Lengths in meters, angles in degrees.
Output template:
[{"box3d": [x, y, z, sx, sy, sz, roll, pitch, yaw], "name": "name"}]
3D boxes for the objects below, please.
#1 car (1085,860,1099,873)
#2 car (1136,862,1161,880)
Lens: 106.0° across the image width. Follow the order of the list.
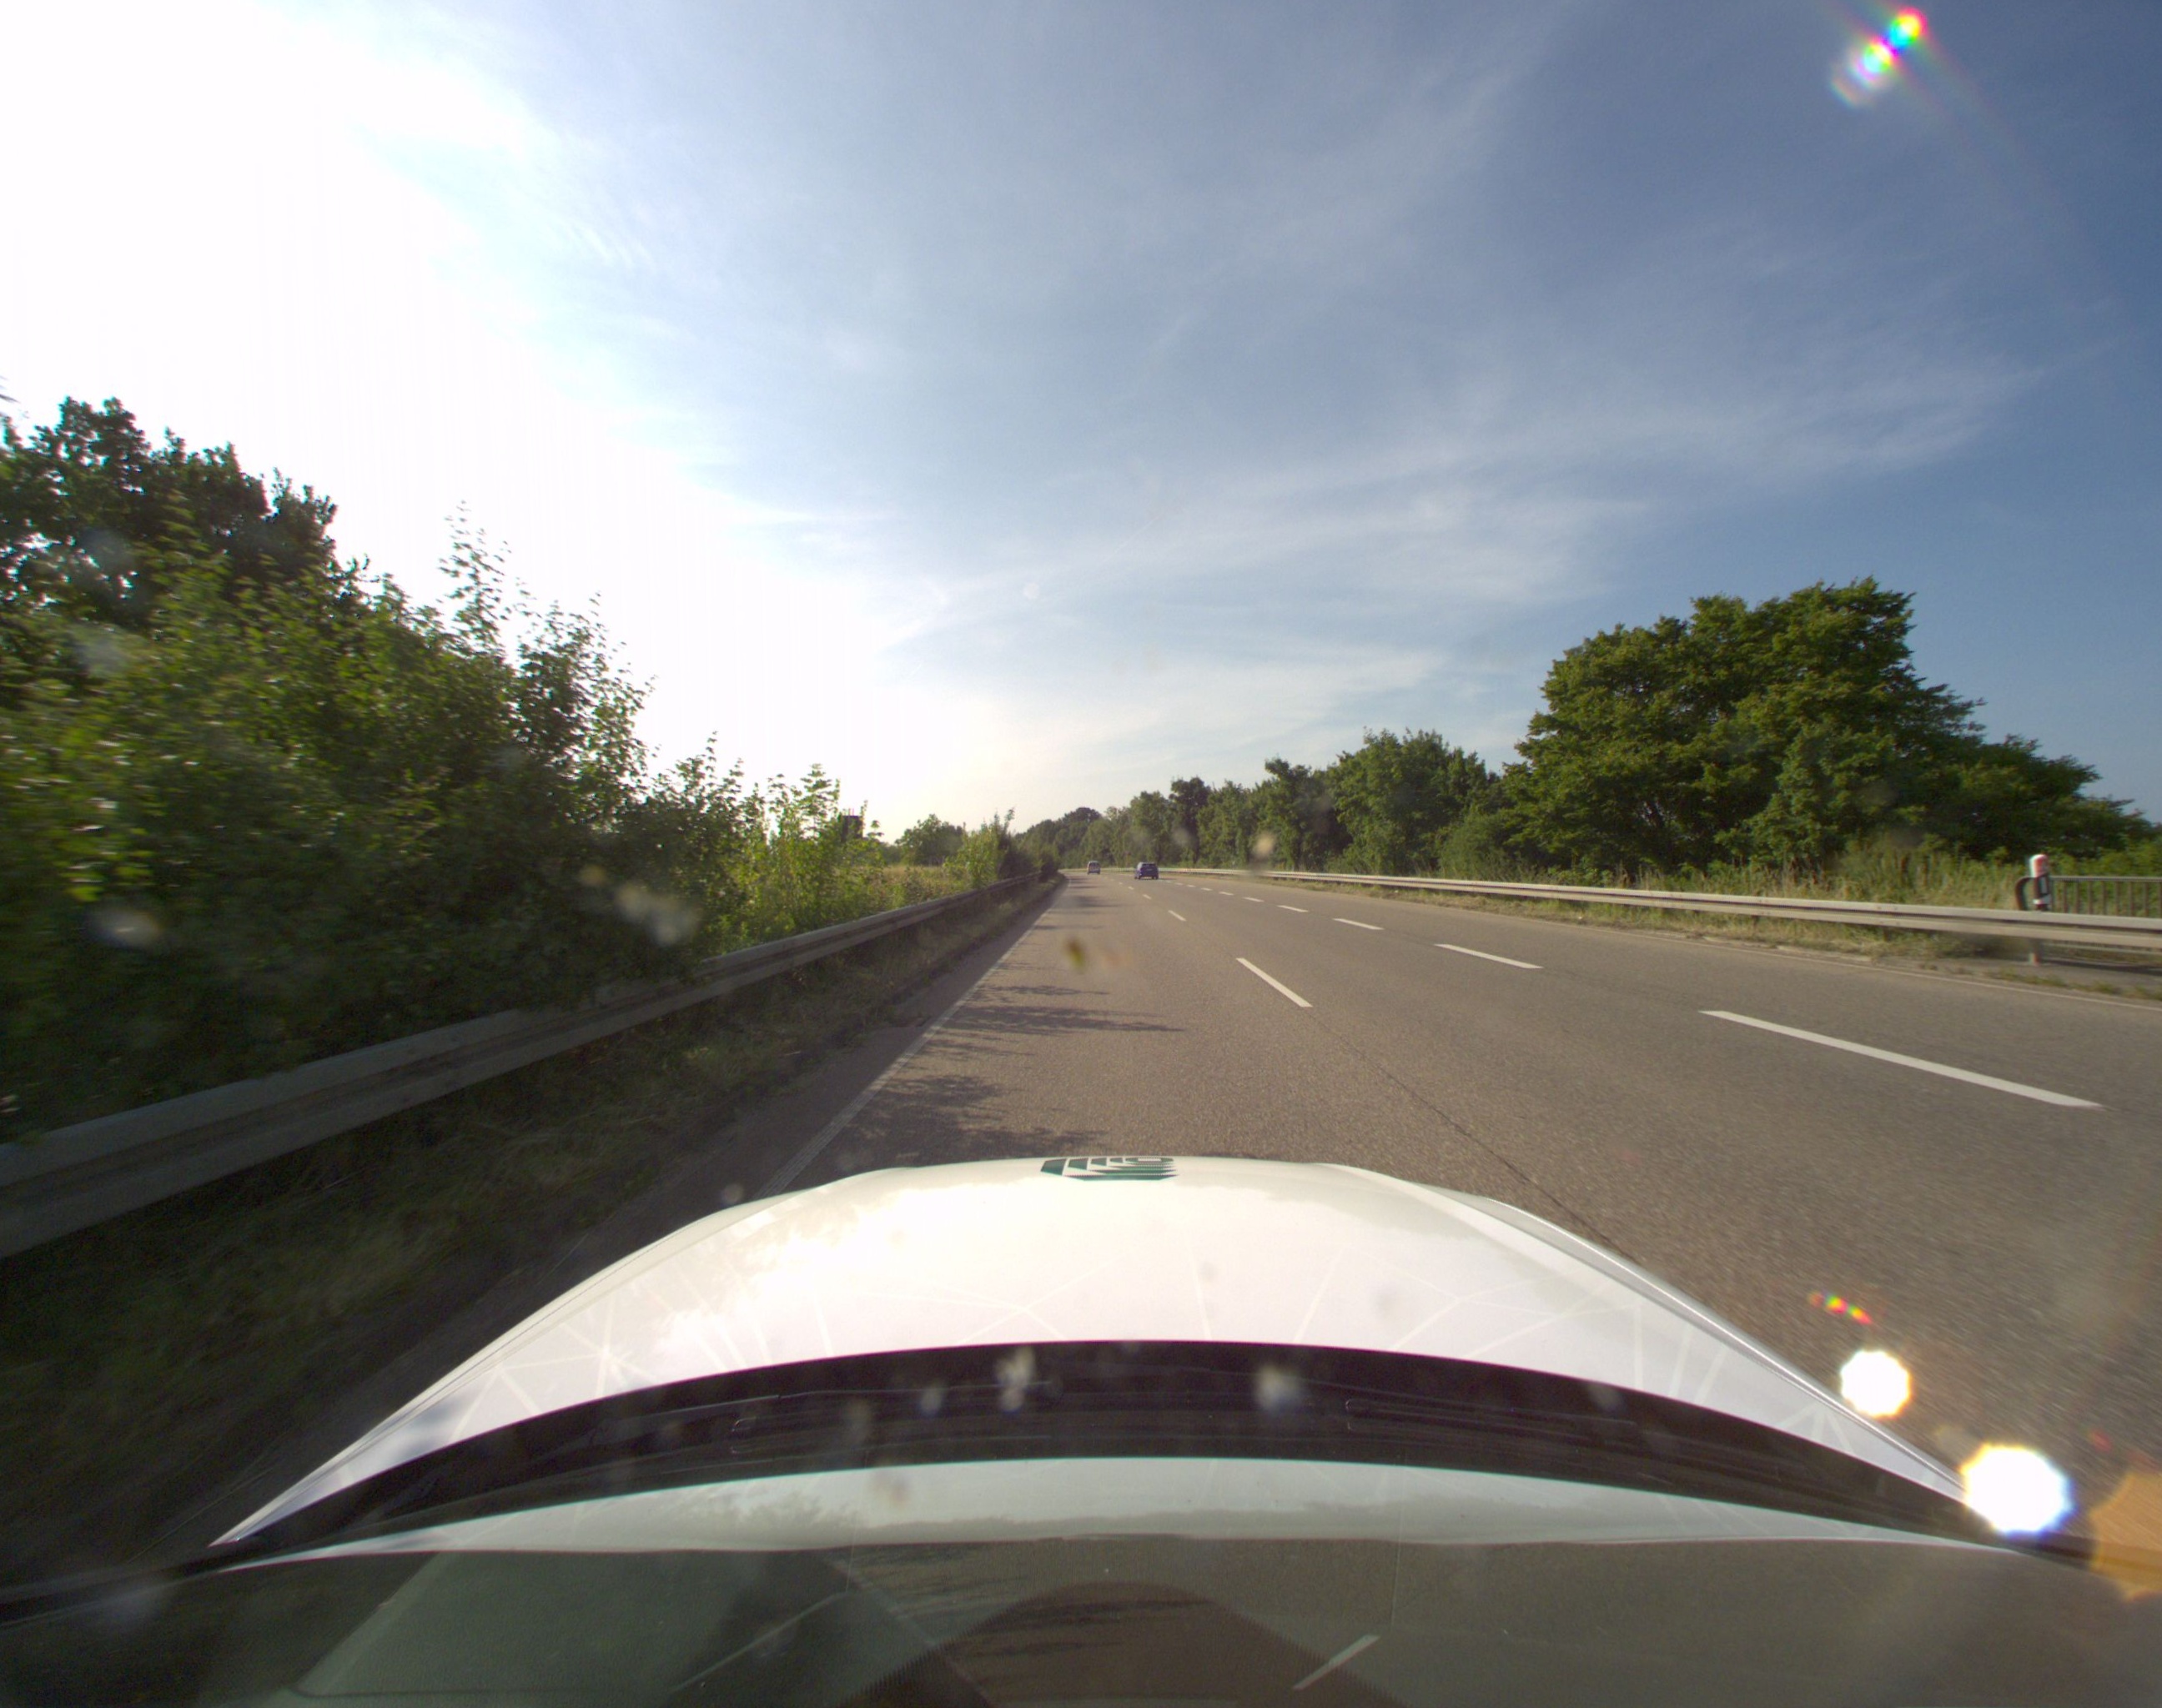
[{"box3d": [1.497, 1.750, 114.073, 1.760, 1.882, 3.998, -1, -1, -1], "name": "car"}, {"box3d": [5.799, 1.492, 70.161, 1.774, 1.452, 3.997, -1, -1, -1], "name": "car"}]
